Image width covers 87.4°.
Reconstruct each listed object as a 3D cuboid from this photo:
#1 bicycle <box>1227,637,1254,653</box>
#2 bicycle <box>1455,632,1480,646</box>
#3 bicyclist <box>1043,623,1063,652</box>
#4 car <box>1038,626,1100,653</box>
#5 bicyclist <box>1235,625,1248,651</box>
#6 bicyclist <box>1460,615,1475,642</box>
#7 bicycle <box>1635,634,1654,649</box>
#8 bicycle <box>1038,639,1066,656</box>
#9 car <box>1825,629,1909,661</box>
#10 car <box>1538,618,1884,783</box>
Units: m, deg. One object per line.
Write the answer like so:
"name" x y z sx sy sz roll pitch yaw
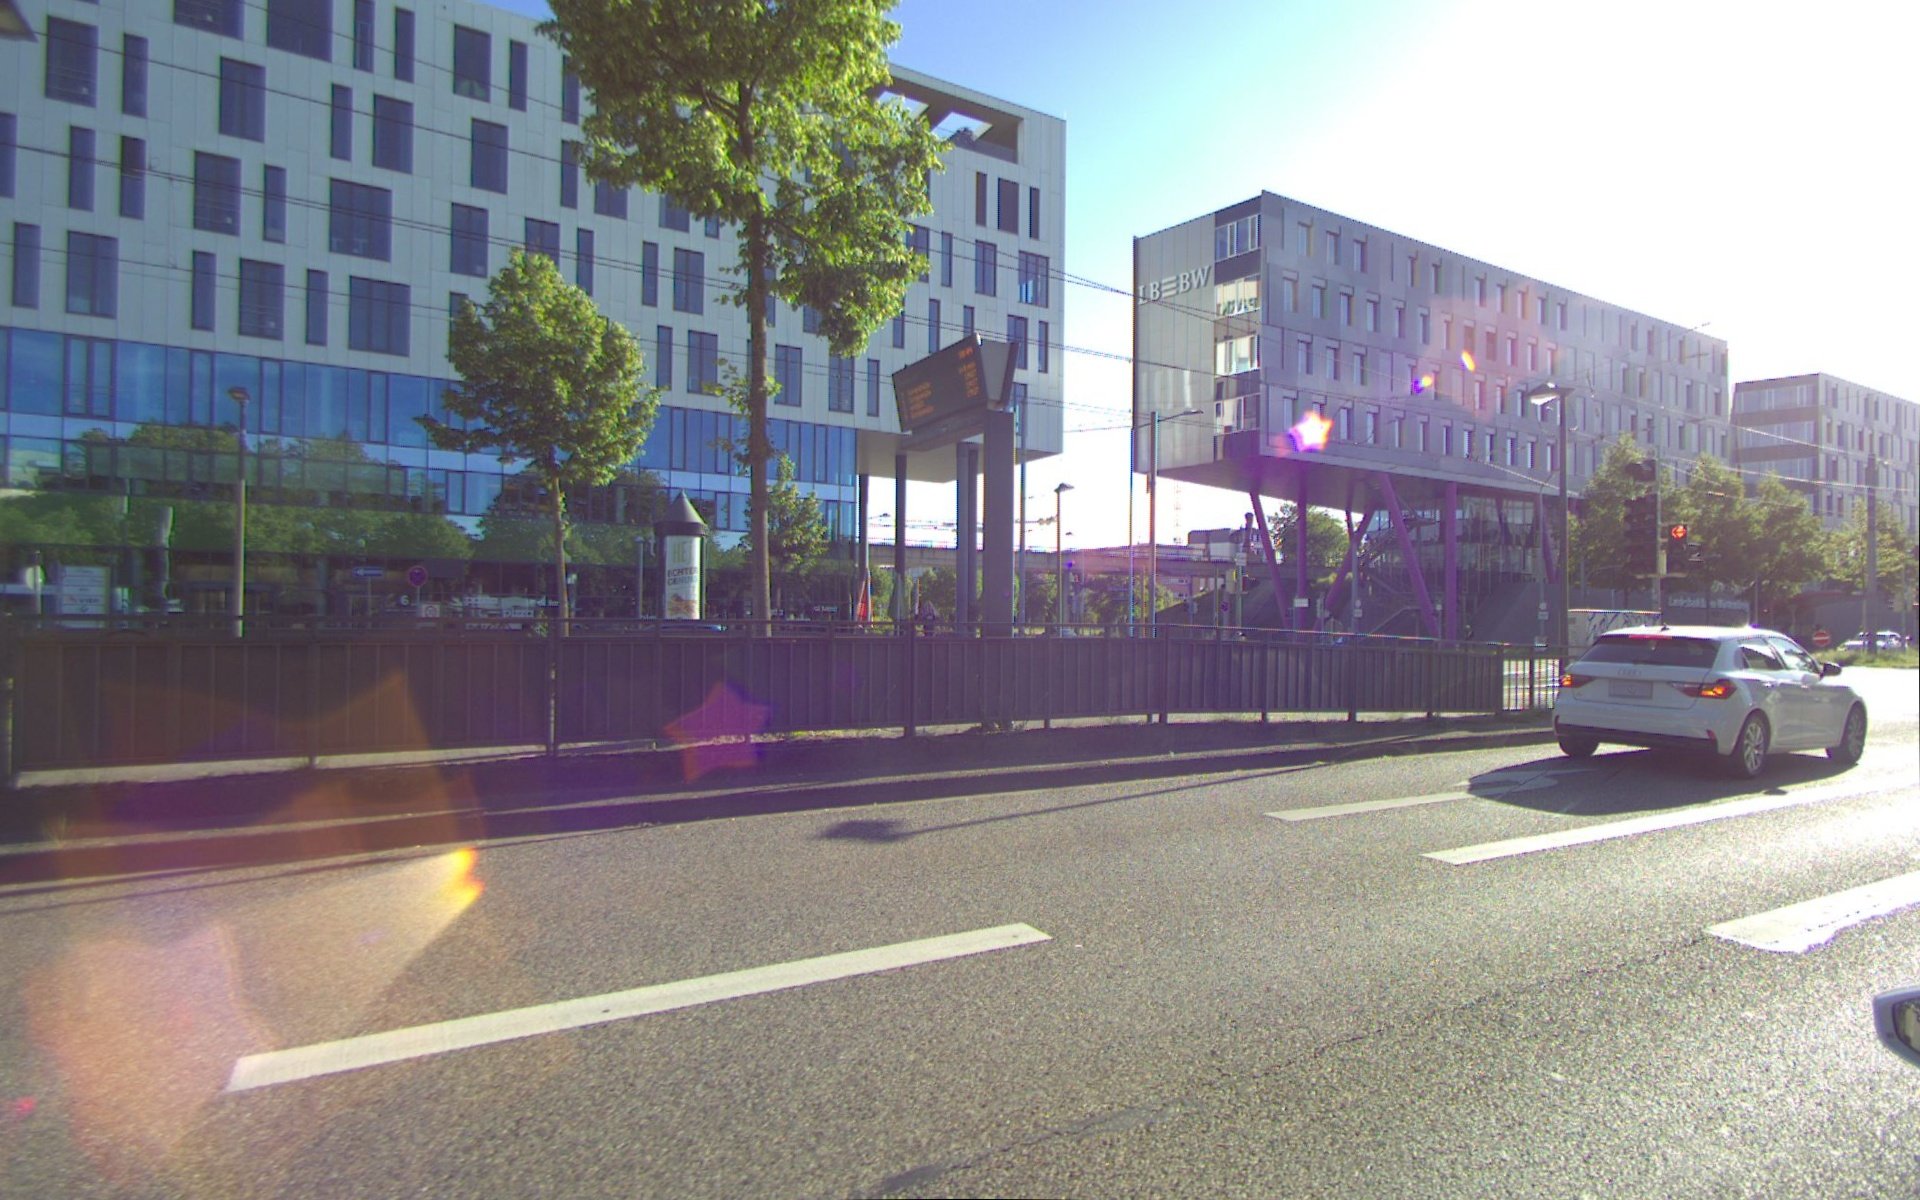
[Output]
"bicycle" 15.591 2.503 55.819 1.676 0.874 0.478 1 -1 -36
"bicycle" 32.789 2.533 64.919 1.811 0.874 0.525 1 -1 -29
"bicyclist" 5.243 2.099 56.865 0.741 1.604 0.950 1 -1 -27
"car" 6.591 2.385 61.209 1.974 1.586 3.974 1 -2 -26
"bicyclist" 15.646 2.121 55.856 0.548 1.442 0.478 1 -1 -36
"bicyclist" 32.820 1.858 64.947 0.827 1.749 0.527 1 -1 -29
"bicycle" 55.509 3.378 81.433 1.952 1.188 0.517 1 -1 -30
"bicycle" 5.211 2.681 56.915 0.739 0.874 1.818 1 -1 -27
"car" 47.484 2.313 52.548 4.816 1.583 1.983 1 -1 -31
"car" 8.183 0.968 10.866 3.961 1.445 1.662 1 0 -32
